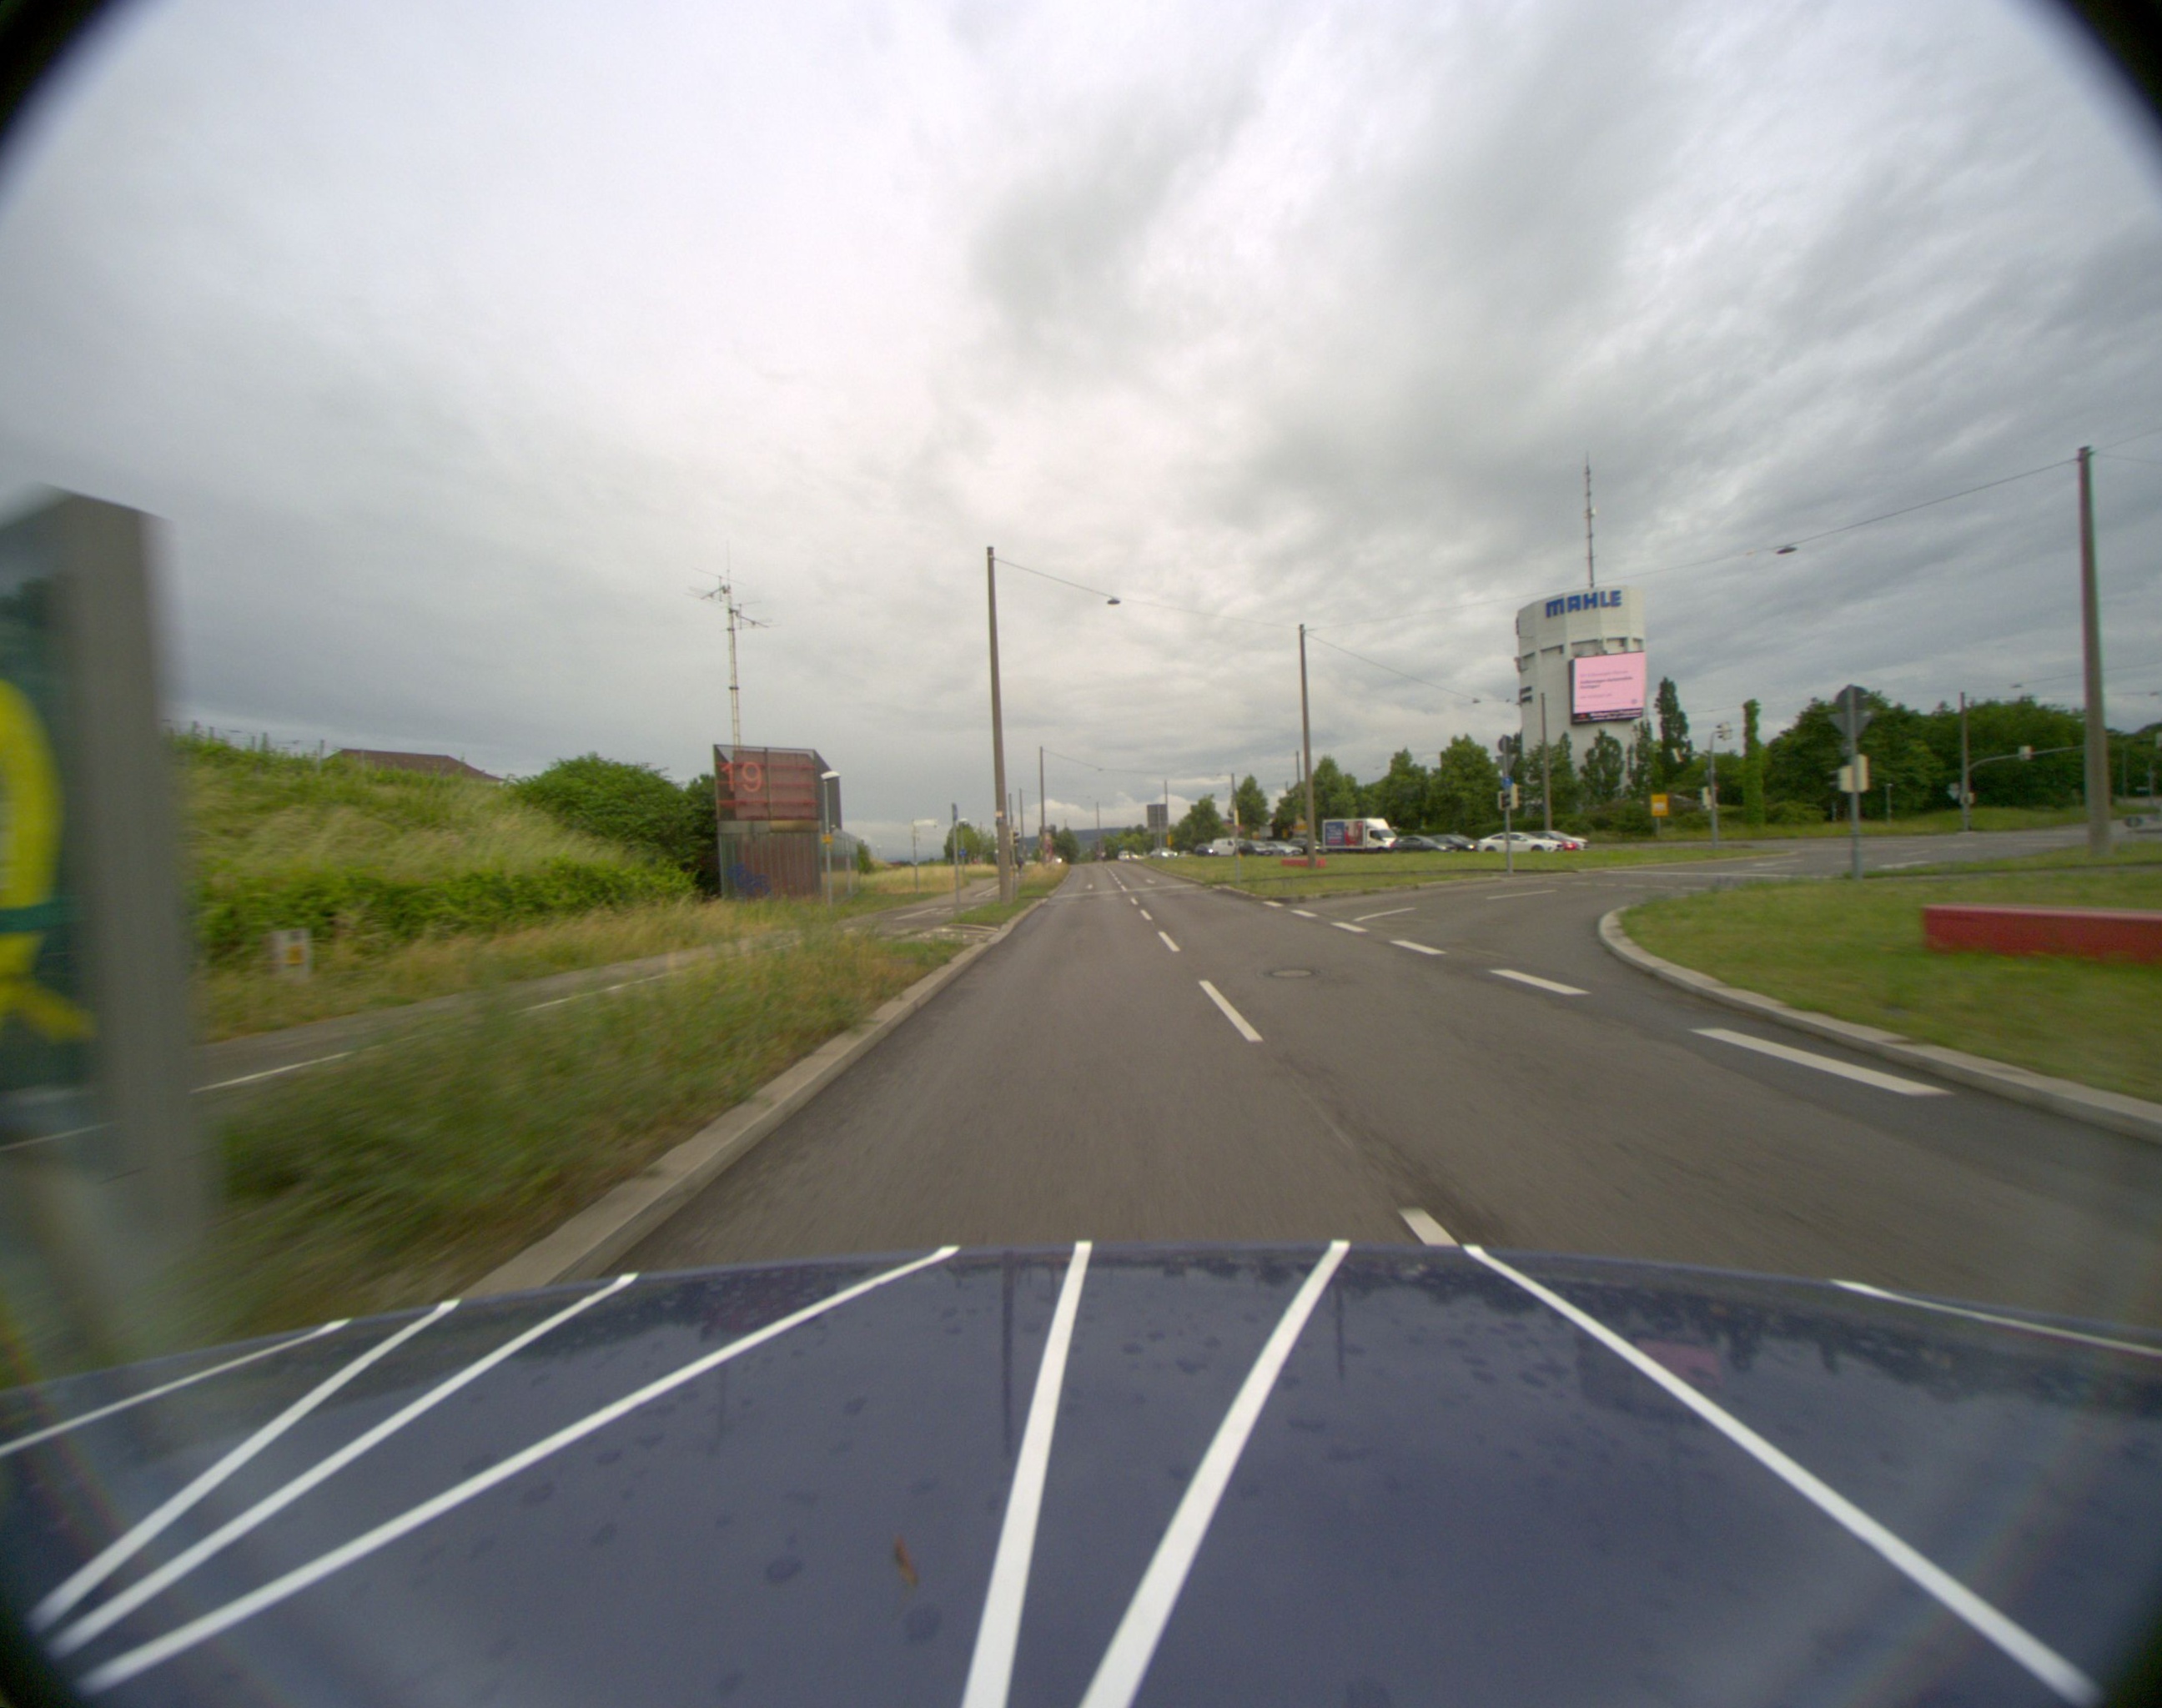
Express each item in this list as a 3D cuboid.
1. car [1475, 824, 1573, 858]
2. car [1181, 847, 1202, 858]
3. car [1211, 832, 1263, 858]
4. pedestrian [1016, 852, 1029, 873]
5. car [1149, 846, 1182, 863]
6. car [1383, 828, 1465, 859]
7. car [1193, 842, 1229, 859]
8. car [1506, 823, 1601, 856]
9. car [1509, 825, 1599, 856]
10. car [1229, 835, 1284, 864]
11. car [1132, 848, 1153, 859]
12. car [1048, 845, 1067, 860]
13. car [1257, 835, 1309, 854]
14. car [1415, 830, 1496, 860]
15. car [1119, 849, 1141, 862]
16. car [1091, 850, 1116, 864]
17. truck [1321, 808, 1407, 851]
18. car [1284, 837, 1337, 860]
[{"bbox_3d":[26.250,-0.747,45.178,2.003,1.673,4.510,-6,1,-36],"label":"car"},{"bbox_3d":[20.778,-0.317,143.144,2.001,1.772,3.993,-6,1,-21],"label":"car"},{"bbox_3d":[15.110,-0.844,73.896,2.376,2.168,5.300,-6,1,-19],"label":"car"},{"bbox_3d":[-5.089,0.759,66.496,0.800,1.713,0.988,-6,1,-15],"label":"pedestrian"},{"bbox_3d":[9.836,0.063,88.753,2.000,1.790,5.164,-5,1,-14],"label":"car"},{"bbox_3d":[22.416,-0.640,49.840,2.002,1.673,4.511,-6,1,-29],"label":"car"},{"bbox_3d":[14.592,-0.360,85.646,2.001,1.673,4.514,-6,1,-18],"label":"car"},{"bbox_3d":[29.376,-0.888,47.370,2.003,1.673,4.510,-6,1,-39],"label":"car"},{"bbox_3d":[31.161,-0.852,50.147,2.003,1.673,4.510,-6,1,-38],"label":"car"},{"bbox_3d":[14.937,-0.308,64.989,2.001,2.168,5.162,-6,1,-19],"label":"car"},{"bbox_3d":[11.688,-0.094,144.519,2.002,1.652,3.992,-6,1,-27],"label":"car"},{"bbox_3d":[-3.403,-0.179,110.042,2.000,2.002,3.996,-5,1,-11],"label":"car"},{"bbox_3d":[17.763,-0.809,67.046,2.002,1.303,4.523,-6,1,-22],"label":"car"},{"bbox_3d":[25.664,-0.574,52.179,2.002,1.673,4.511,-6,1,-32],"label":"car"},{"bbox_3d":[7.705,0.300,119.784,2.001,1.772,3.995,-5,1,-16],"label":"car"},{"bbox_3d":[3.090,0.427,105.932,2.000,1.790,5.164,-5,1,-14],"label":"car"},{"bbox_3d":[21.749,-1.808,58.631,2.133,2.818,6.018,-6,1,-31],"label":"truck"},{"bbox_3d":[20.514,-0.471,68.139,2.002,1.673,4.513,-6,1,-22],"label":"car"}]
